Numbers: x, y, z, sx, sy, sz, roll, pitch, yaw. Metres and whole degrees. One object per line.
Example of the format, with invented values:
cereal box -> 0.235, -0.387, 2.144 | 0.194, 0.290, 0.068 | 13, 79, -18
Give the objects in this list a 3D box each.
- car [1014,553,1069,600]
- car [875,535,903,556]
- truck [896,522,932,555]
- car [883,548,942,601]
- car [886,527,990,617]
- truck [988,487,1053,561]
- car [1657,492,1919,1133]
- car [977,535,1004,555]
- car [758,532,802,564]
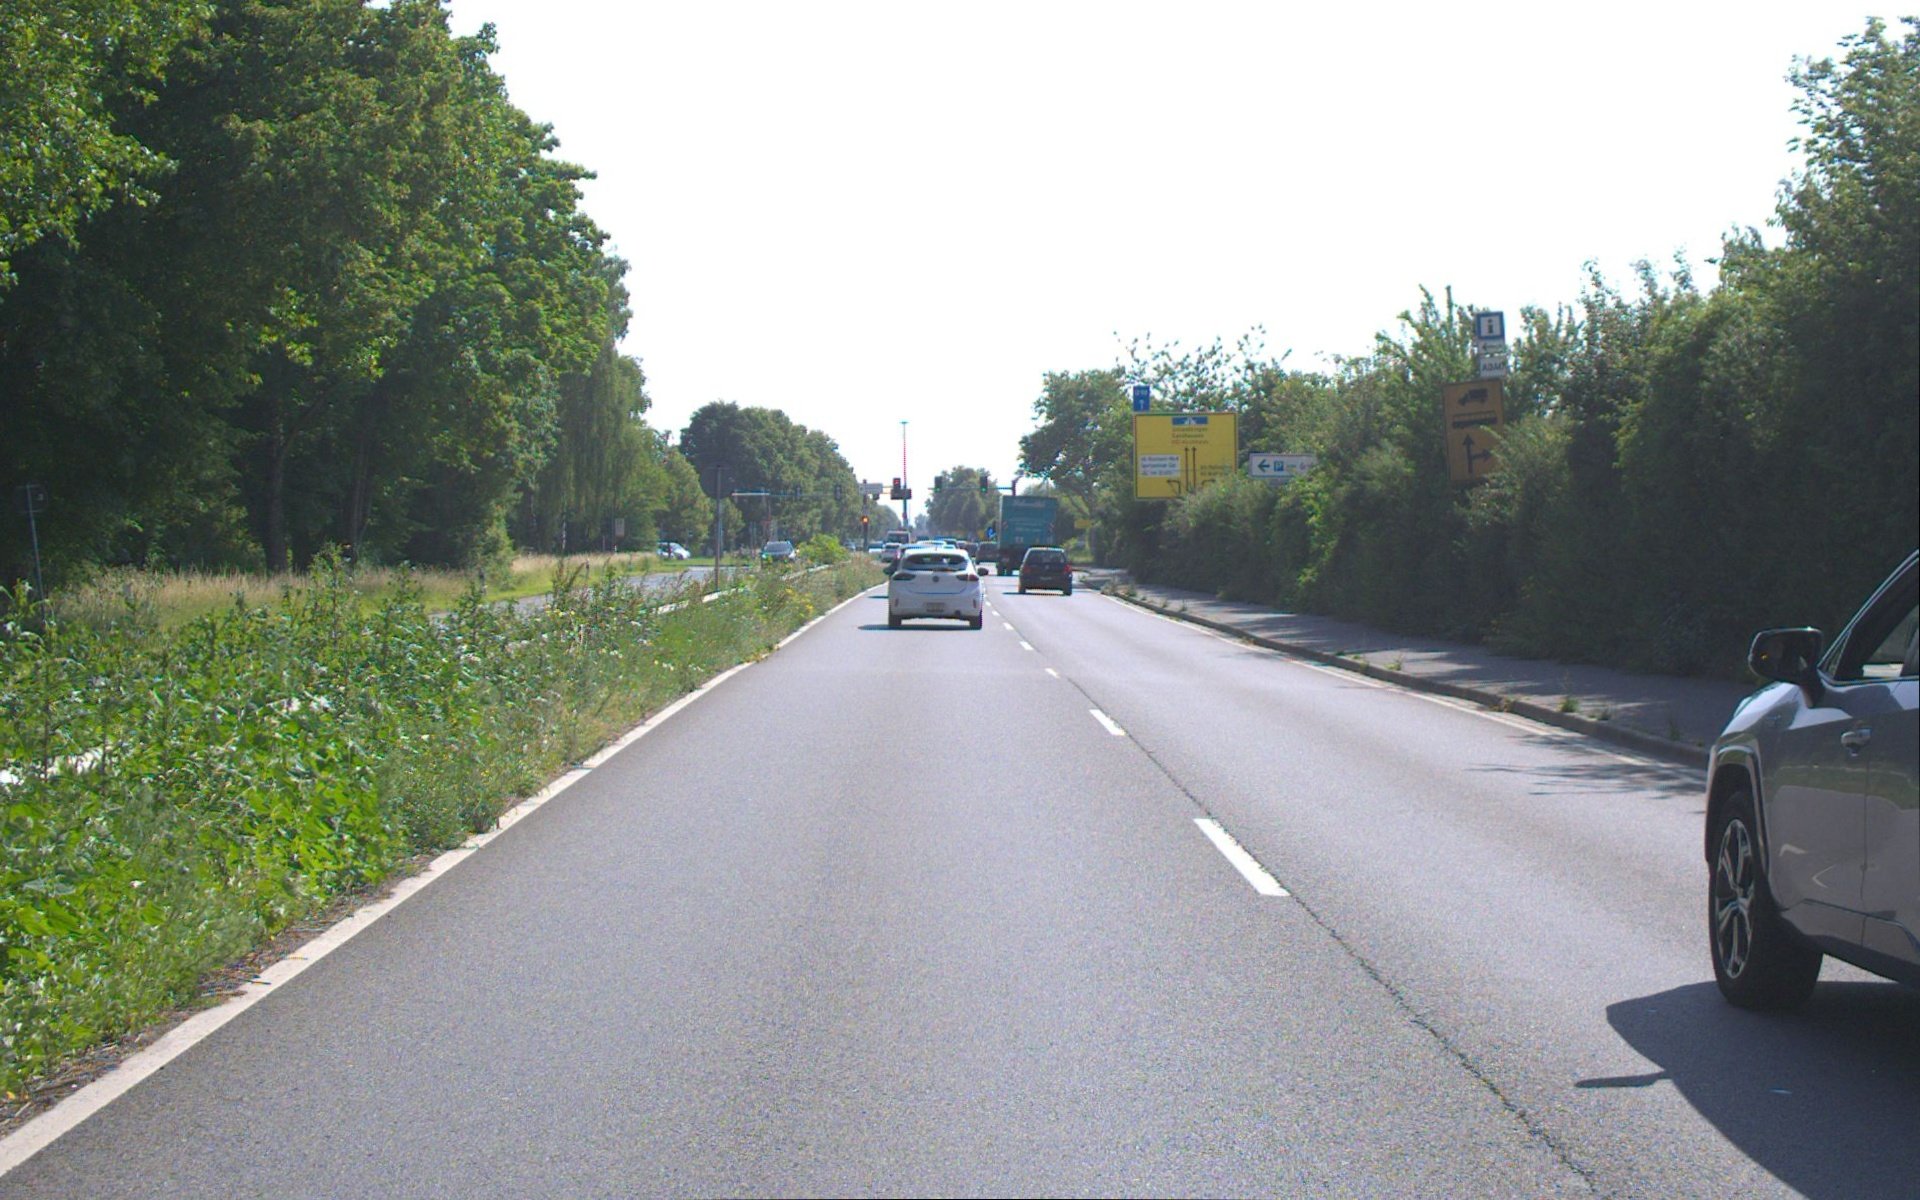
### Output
car -> 2.490, -0.708, 105.681 | 1.572, 1.410, 3.277 | 1, 0, 0
car -> -5.254, -4.034, 254.577 | 1.812, 1.459, 4.971 | -1, 1, 2
truck -> -3.495, -4.699, 262.695 | 2.374, 2.380, 6.041 | 1, 2, 2
car -> -1.302, -0.710, 94.969 | 1.572, 1.409, 3.277 | 0, 1, 0
car -> -0.375, -0.541, 62.861 | 1.799, 1.547, 4.000 | 1, 1, 0
truck -> 2.853, -3.612, 164.247 | 2.891, 3.417, 9.169 | 0, 1, 0
car -> 3.469, 0.564, 9.870 | 1.902, 1.674, 4.684 | 2, 1, 0
car -> 2.264, -4.039, 252.305 | 1.812, 1.459, 4.459 | -1, 0, 2
car -> -8.888, -2.554, 169.925 | 1.779, 1.525, 4.161 | -1, 1, 2
